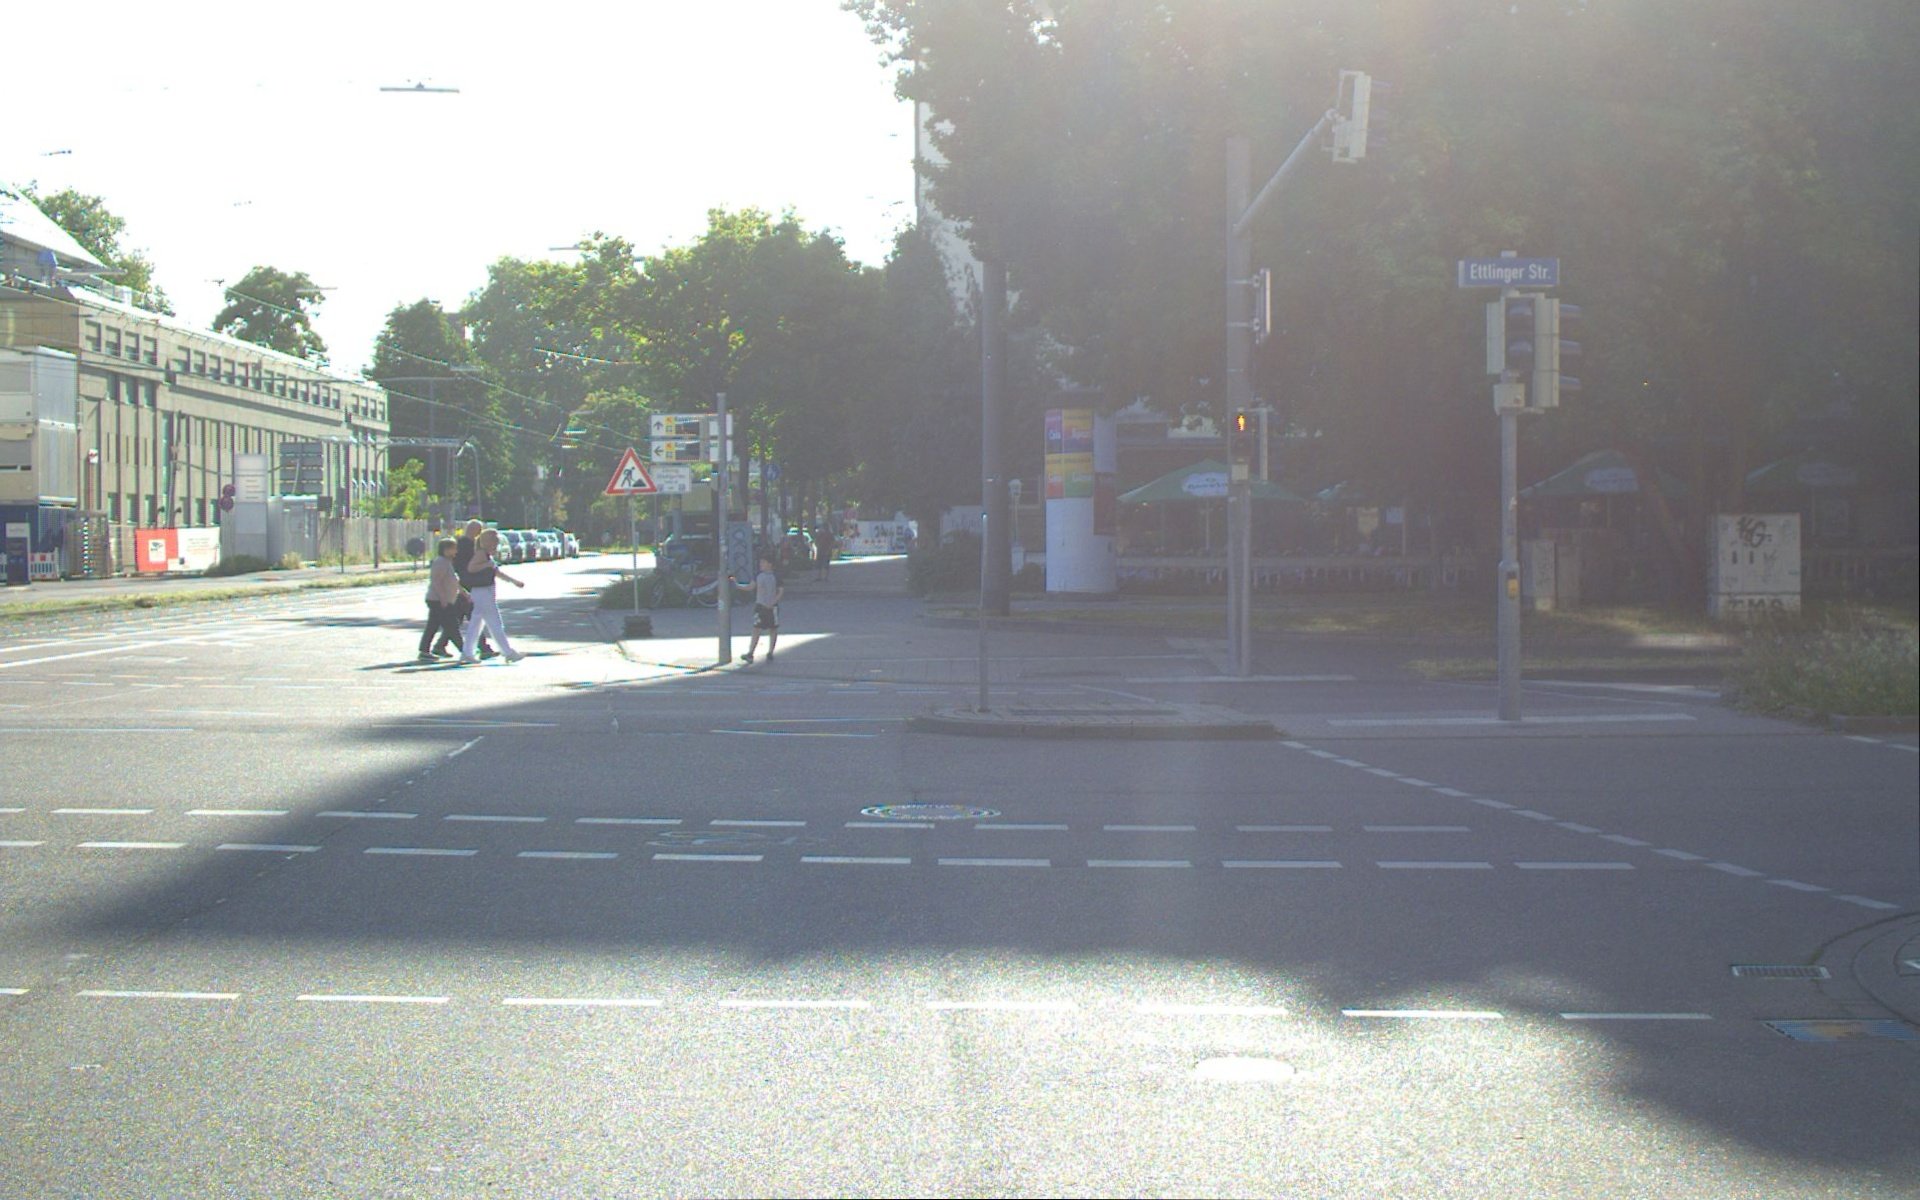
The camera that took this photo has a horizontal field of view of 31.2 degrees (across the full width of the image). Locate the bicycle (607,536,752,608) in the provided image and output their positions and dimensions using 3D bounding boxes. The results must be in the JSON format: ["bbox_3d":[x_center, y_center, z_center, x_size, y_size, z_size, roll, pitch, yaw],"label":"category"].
[{"bbox_3d":[-5.475,-0.554,67.144,2.748,1.363,0.630,1,0,11],"label":"bicycle"}]

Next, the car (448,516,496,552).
[{"bbox_3d":[-22.736,-3.058,160.270,1.731,1.647,4.000,0,1,-1],"label":"car"}]

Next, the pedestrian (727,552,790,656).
[{"bbox_3d":[-2.599,0.051,44.452,0.752,1.328,0.742,0,1,1],"label":"pedestrian"}]

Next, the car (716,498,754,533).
[{"bbox_3d":[-13.009,-4.871,198.767,1.993,2.007,4.000,-1,1,-1],"label":"car"}]

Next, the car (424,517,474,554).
[{"bbox_3d":[-23.157,-2.925,155.924,1.731,1.647,4.000,0,1,-1],"label":"car"}]

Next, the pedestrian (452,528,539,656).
[{"bbox_3d":[-5.840,-0.103,43.276,0.984,1.582,0.660,0,0,1],"label":"pedestrian"}]

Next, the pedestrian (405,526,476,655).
[{"bbox_3d":[-6.613,-0.123,43.788,0.795,1.634,0.533,0,1,2],"label":"pedestrian"}]

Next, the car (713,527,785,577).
[{"bbox_3d":[-5.553,-1.269,90.832,1.819,1.274,4.001,0,1,-3],"label":"car"}]

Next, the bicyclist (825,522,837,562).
[{"bbox_3d":[-3.683,-1.664,98.366,0.318,1.123,0.291,0,1,-1],"label":"bicyclist"}]

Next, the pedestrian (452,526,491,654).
[{"bbox_3d":[-6.385,-0.133,44.956,0.441,1.657,0.376,0,1,-1],"label":"pedestrian"}]

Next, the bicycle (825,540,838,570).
[{"bbox_3d":[-3.682,-1.298,98.501,0.324,0.865,1.483,0,1,-1],"label":"bicycle"}]

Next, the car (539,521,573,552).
[{"bbox_3d":[-22.840,-3.606,194.493,1.483,1.744,4.000,0,1,-1],"label":"car"}]
